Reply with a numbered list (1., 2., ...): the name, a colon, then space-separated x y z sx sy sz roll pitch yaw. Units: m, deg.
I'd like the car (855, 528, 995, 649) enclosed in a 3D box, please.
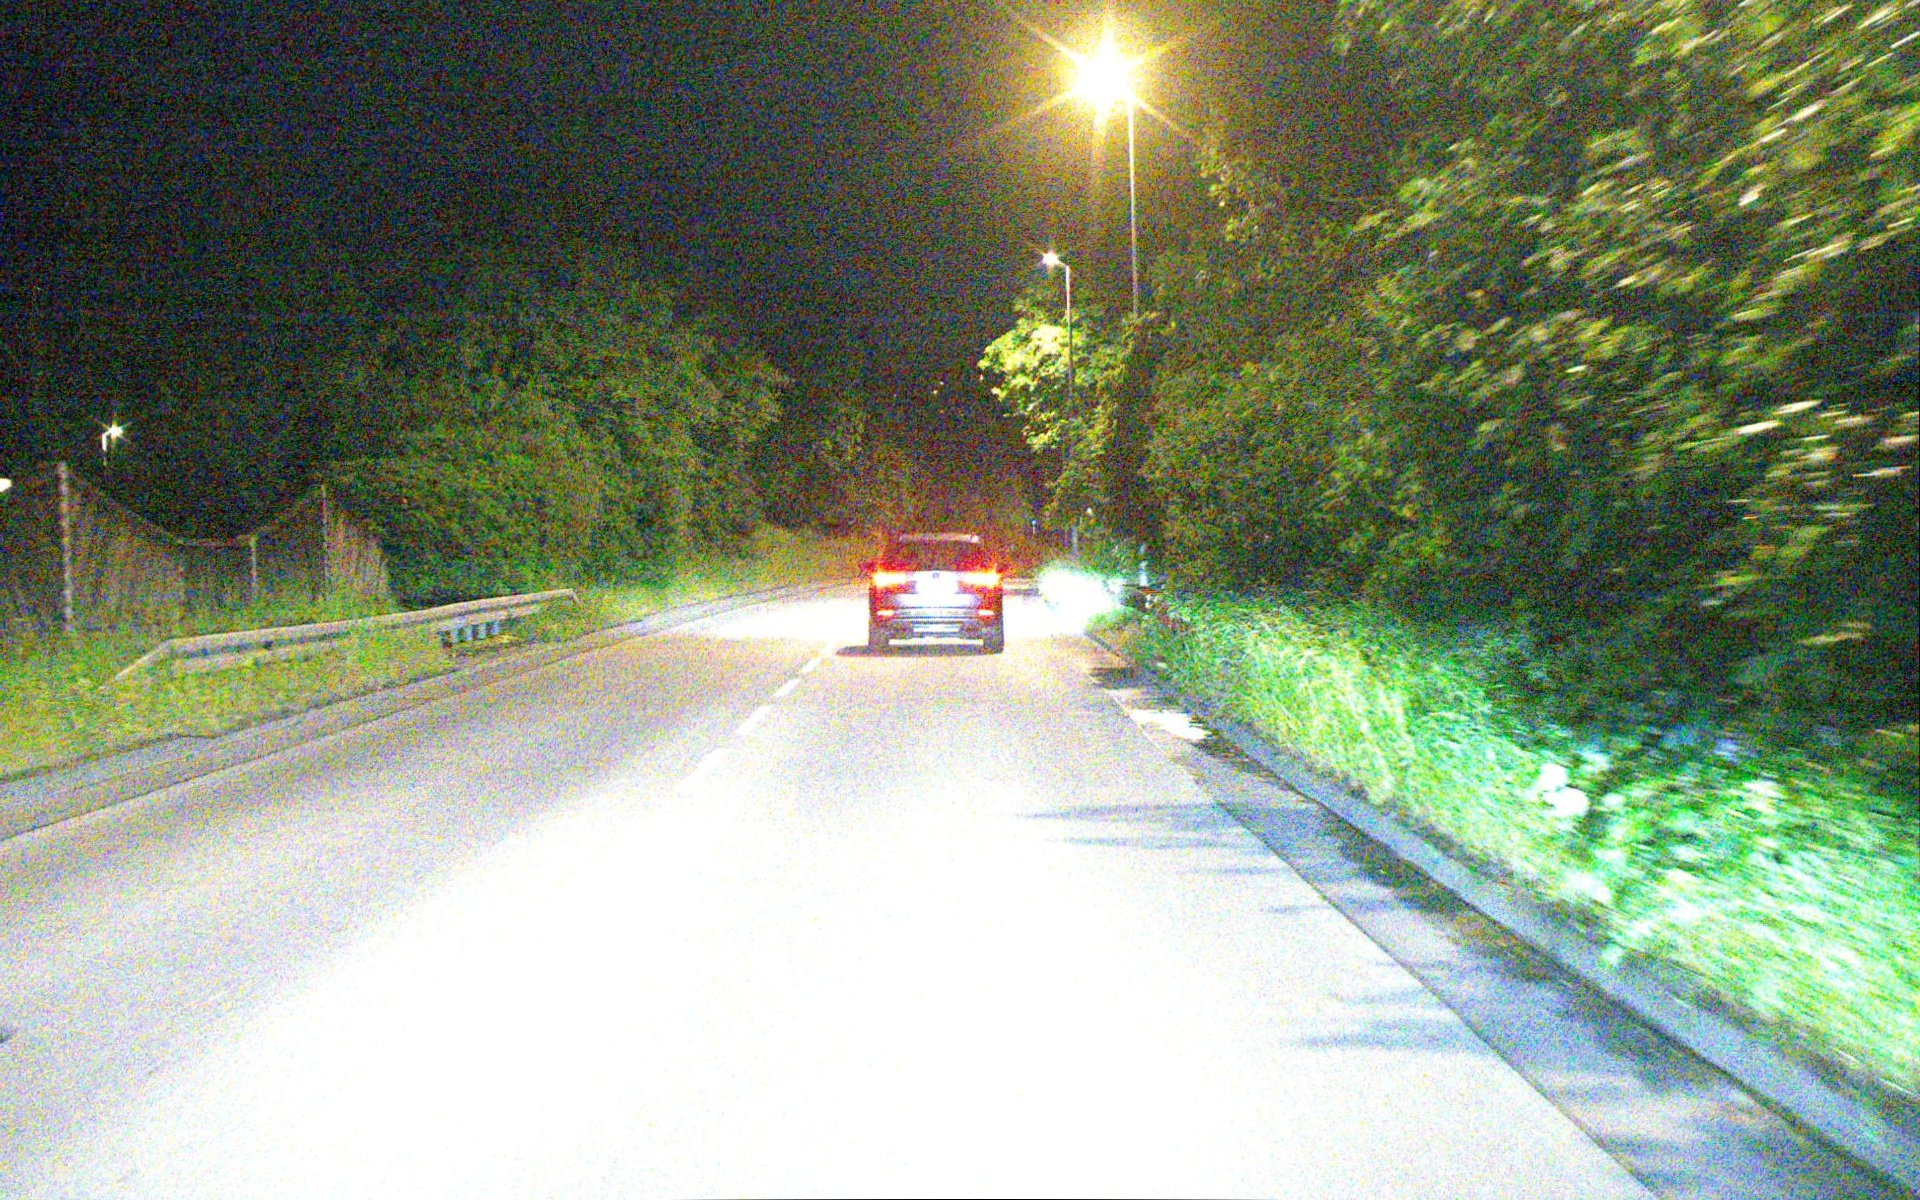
1. car: -0.449 -0.186 46.666 1.815 1.568 3.944 0 1 0
